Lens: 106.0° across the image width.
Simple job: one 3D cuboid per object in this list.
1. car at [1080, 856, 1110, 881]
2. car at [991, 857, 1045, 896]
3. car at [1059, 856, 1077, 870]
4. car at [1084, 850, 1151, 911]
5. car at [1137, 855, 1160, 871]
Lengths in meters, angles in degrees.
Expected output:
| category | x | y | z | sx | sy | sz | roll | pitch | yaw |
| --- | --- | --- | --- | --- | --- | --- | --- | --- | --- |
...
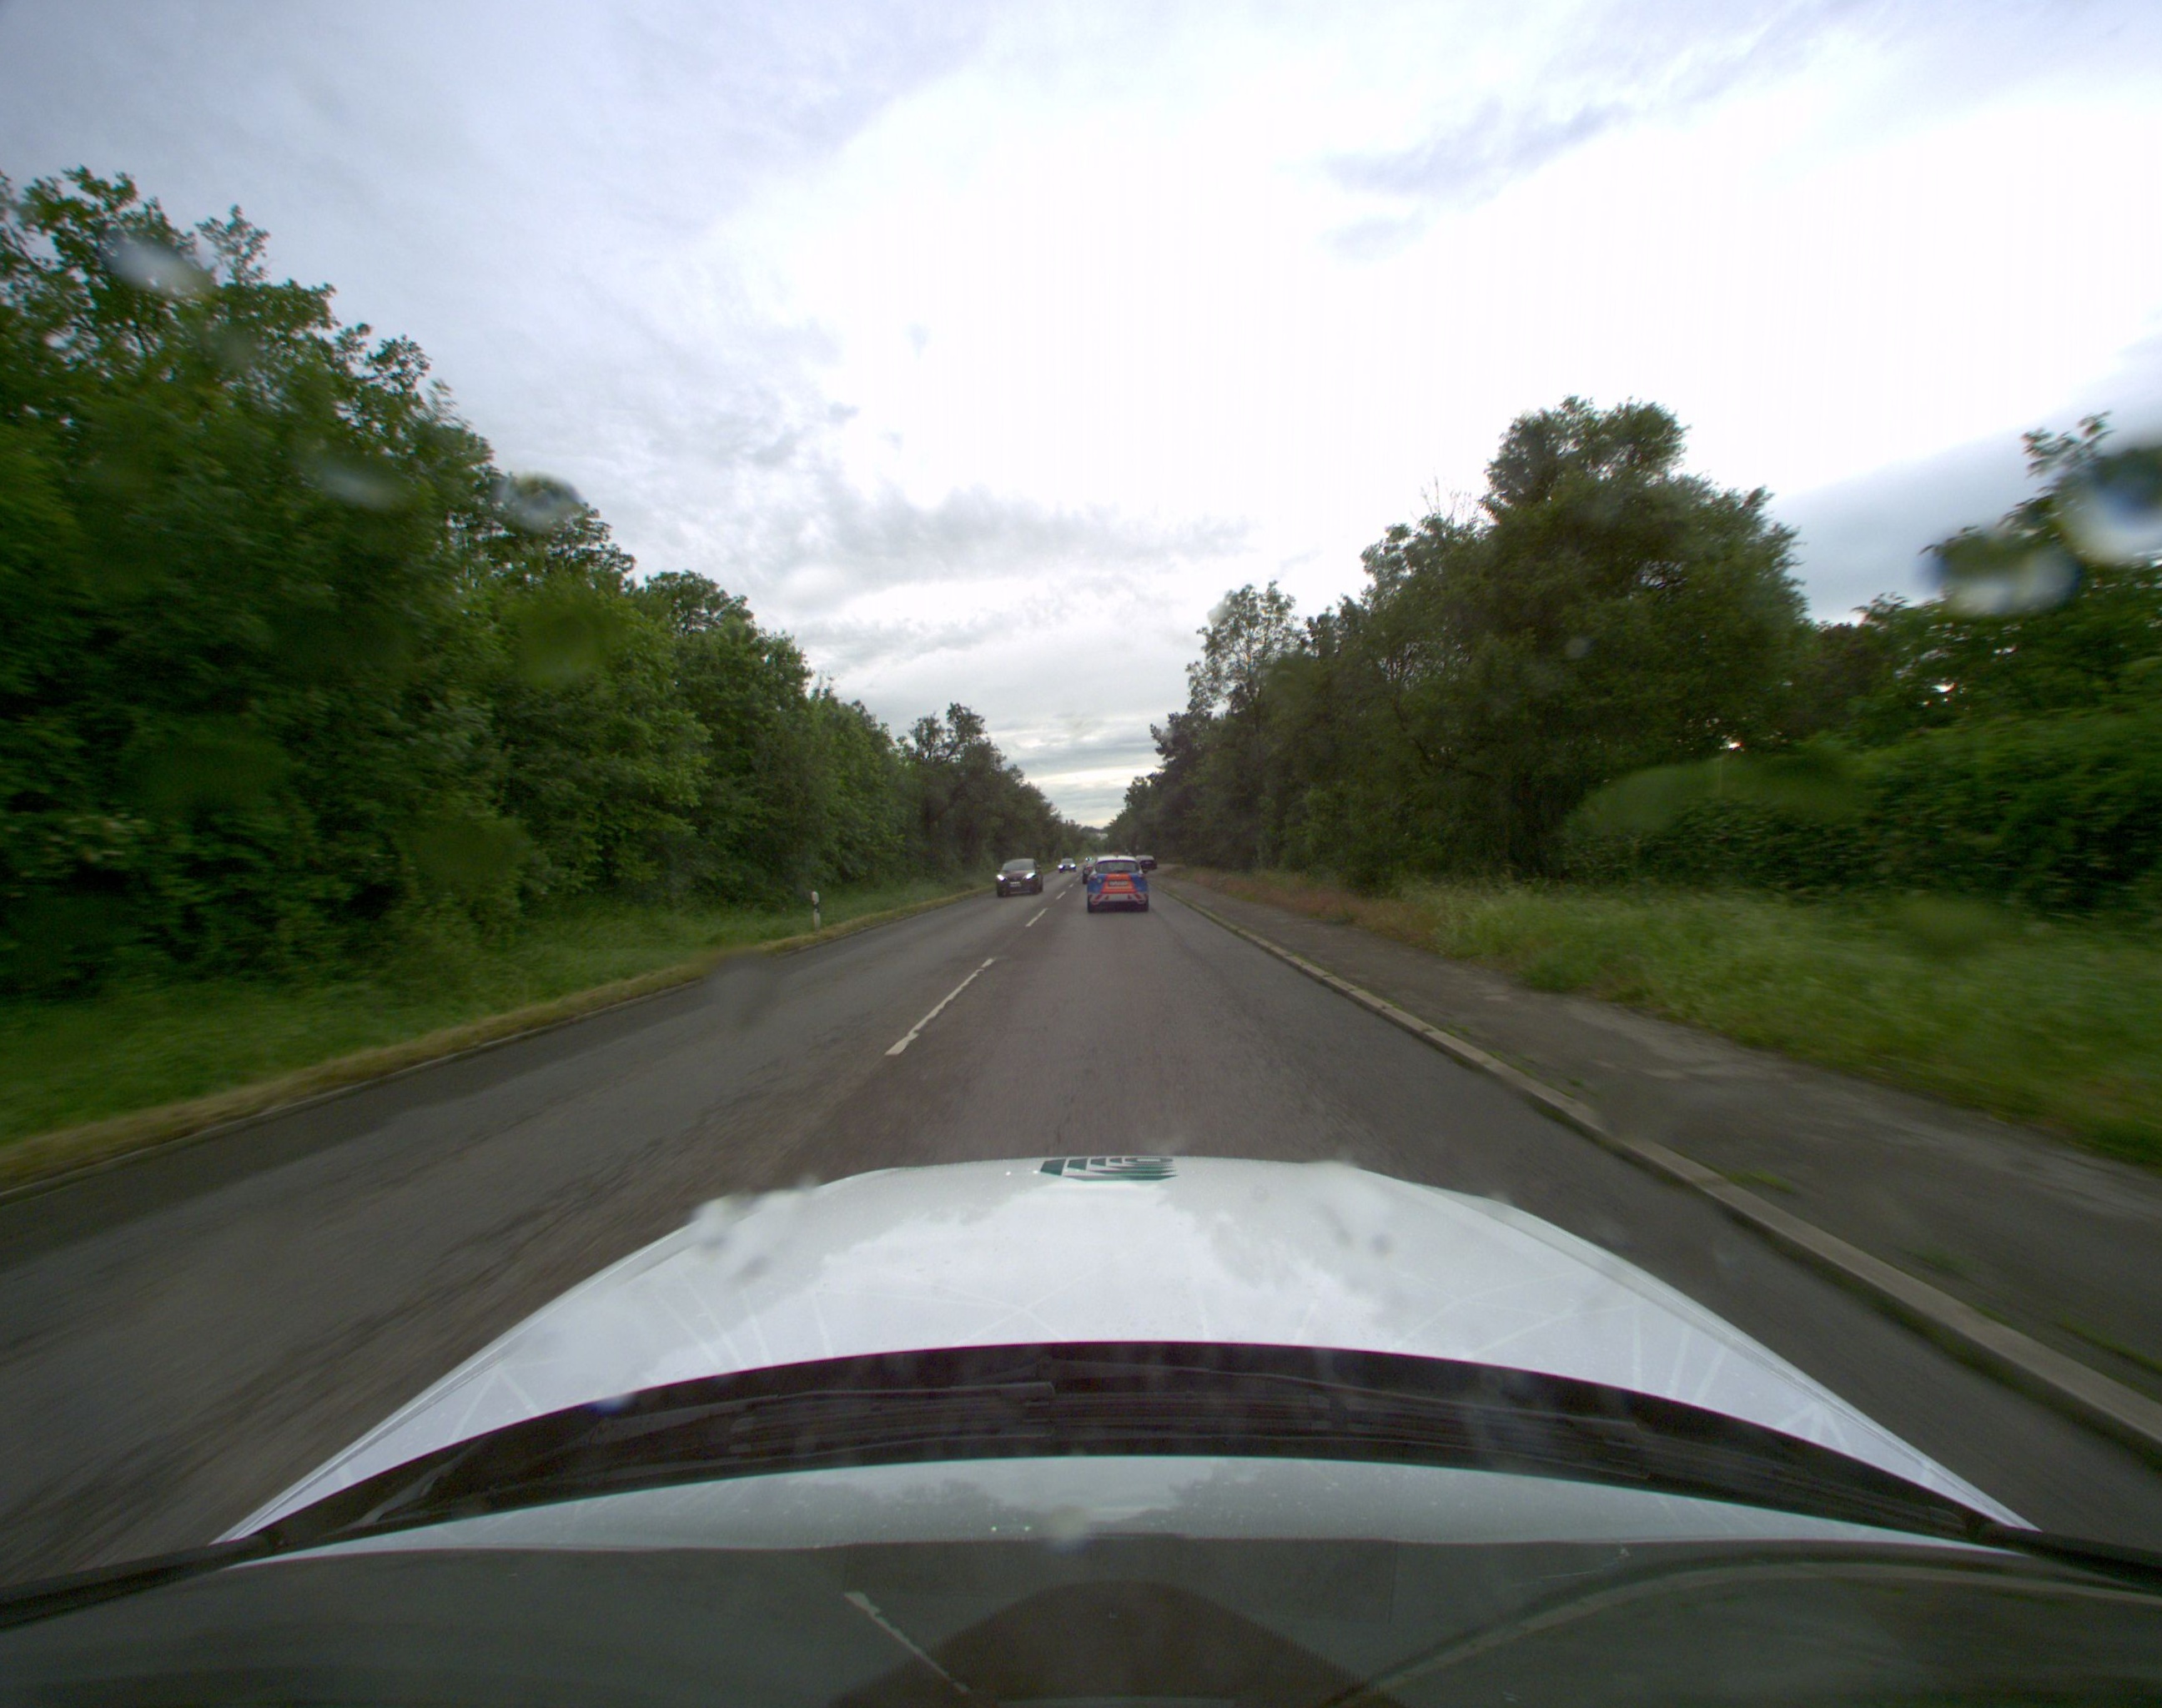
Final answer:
| category | x | y | z | sx | sy | sz | roll | pitch | yaw |
| --- | --- | --- | --- | --- | --- | --- | --- | --- | --- |
| car | 0.825 | 0.808 | 47.322 | 1.592 | 1.287 | 3.478 | -3 | 0 | 2 |
| car | -2.804 | 0.993 | 37.158 | 1.898 | 1.556 | 4.517 | -3 | 0 | 1 |
| car | -1.401 | 0.939 | 87.751 | 1.704 | 1.399 | 4.150 | -4 | 0 | 1 |
| car | 1.027 | 0.712 | 23.730 | 1.746 | 1.555 | 3.793 | -1 | 1 | 1 |
| car | 6.471 | 0.813 | 78.238 | 1.986 | 1.376 | 4.002 | -3 | 0 | 2 |
